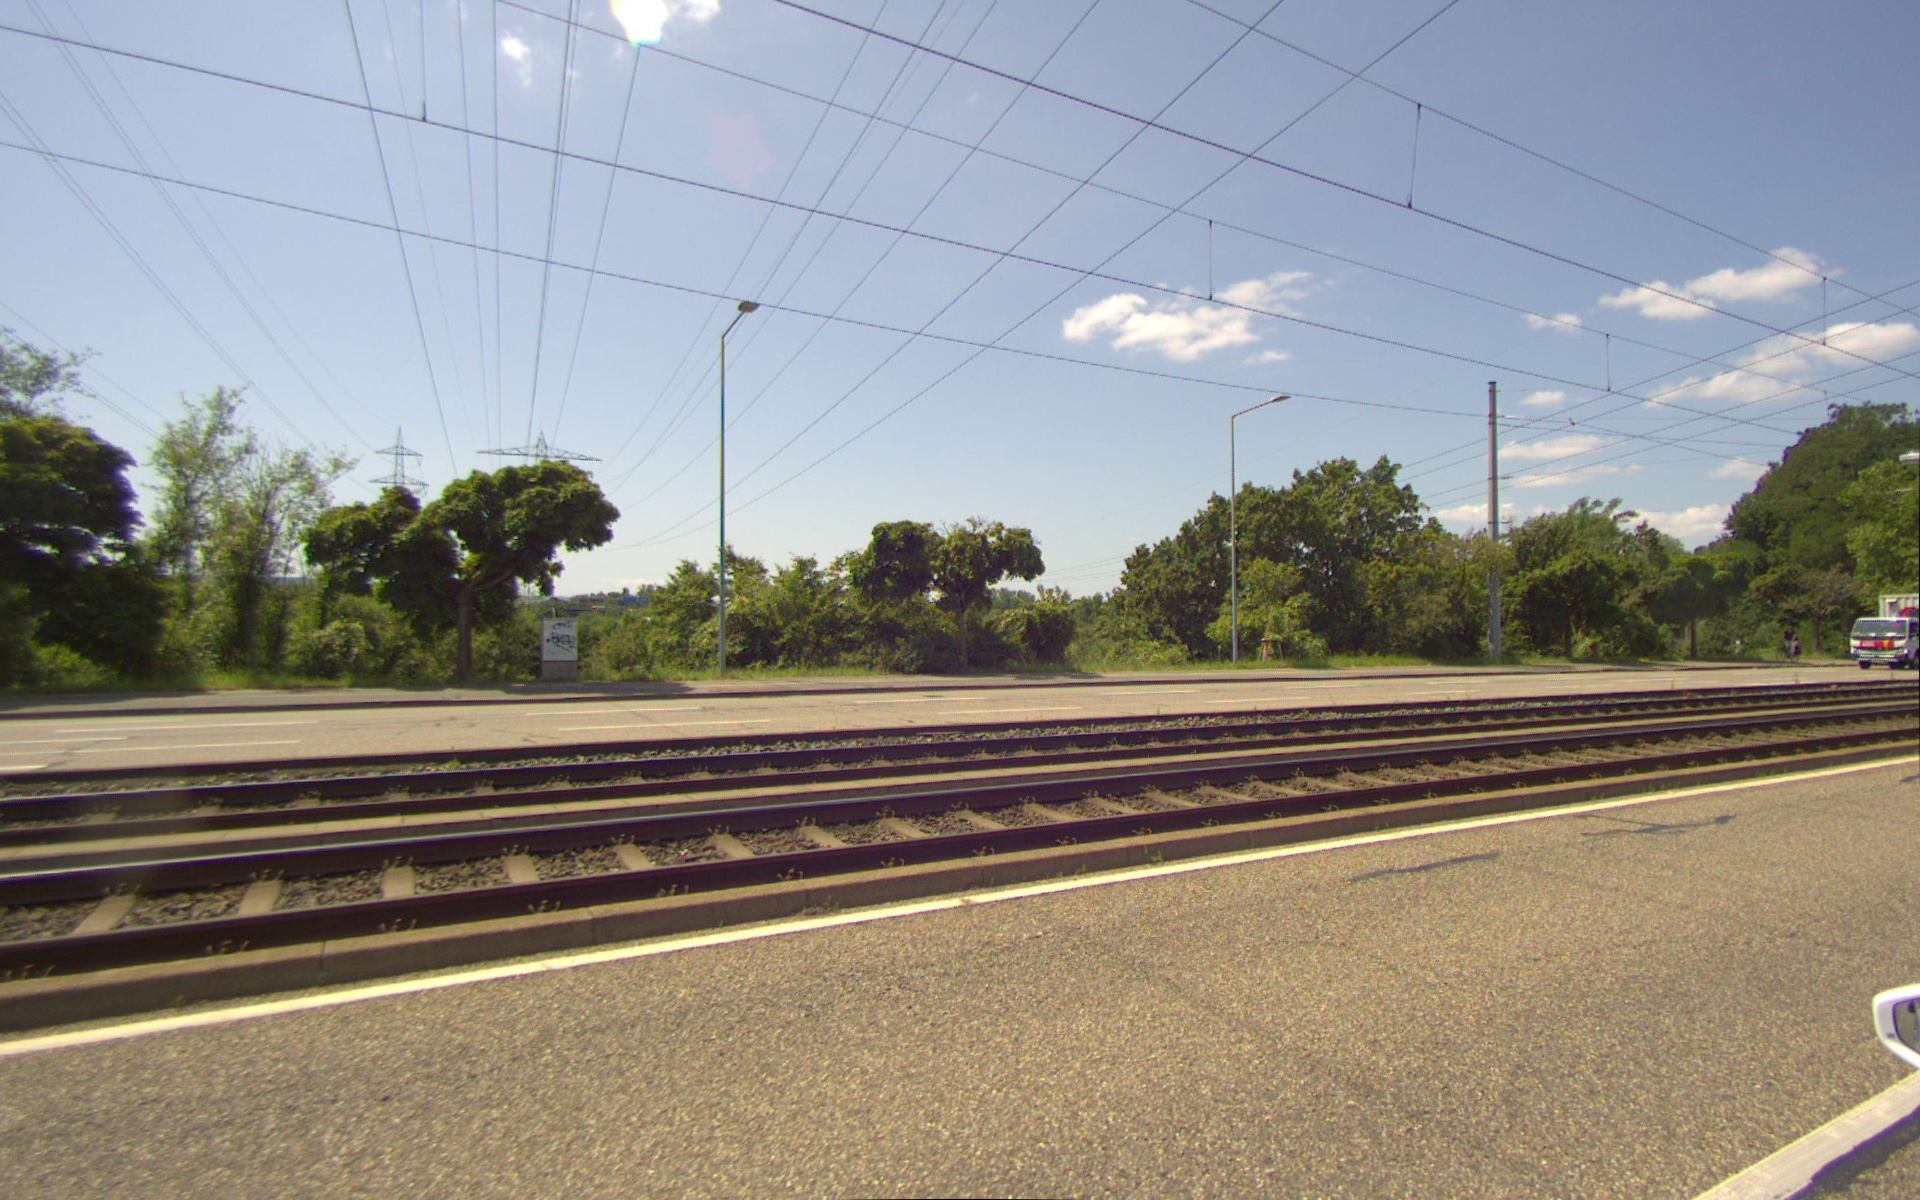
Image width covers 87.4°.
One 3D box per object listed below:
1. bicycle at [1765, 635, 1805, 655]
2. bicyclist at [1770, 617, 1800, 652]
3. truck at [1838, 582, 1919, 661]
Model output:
[{"bbox_3d":[38.974,2.118,47.437,2.092,0.871,0.648,1,1,-26],"label":"bicycle"},{"bbox_3d":[38.962,1.632,47.417,1.140,1.642,0.648,1,1,-26],"label":"bicyclist"},{"bbox_3d":[41.112,0.946,43.896,5.967,3.279,2.240,1,-1,-29],"label":"truck"}]
